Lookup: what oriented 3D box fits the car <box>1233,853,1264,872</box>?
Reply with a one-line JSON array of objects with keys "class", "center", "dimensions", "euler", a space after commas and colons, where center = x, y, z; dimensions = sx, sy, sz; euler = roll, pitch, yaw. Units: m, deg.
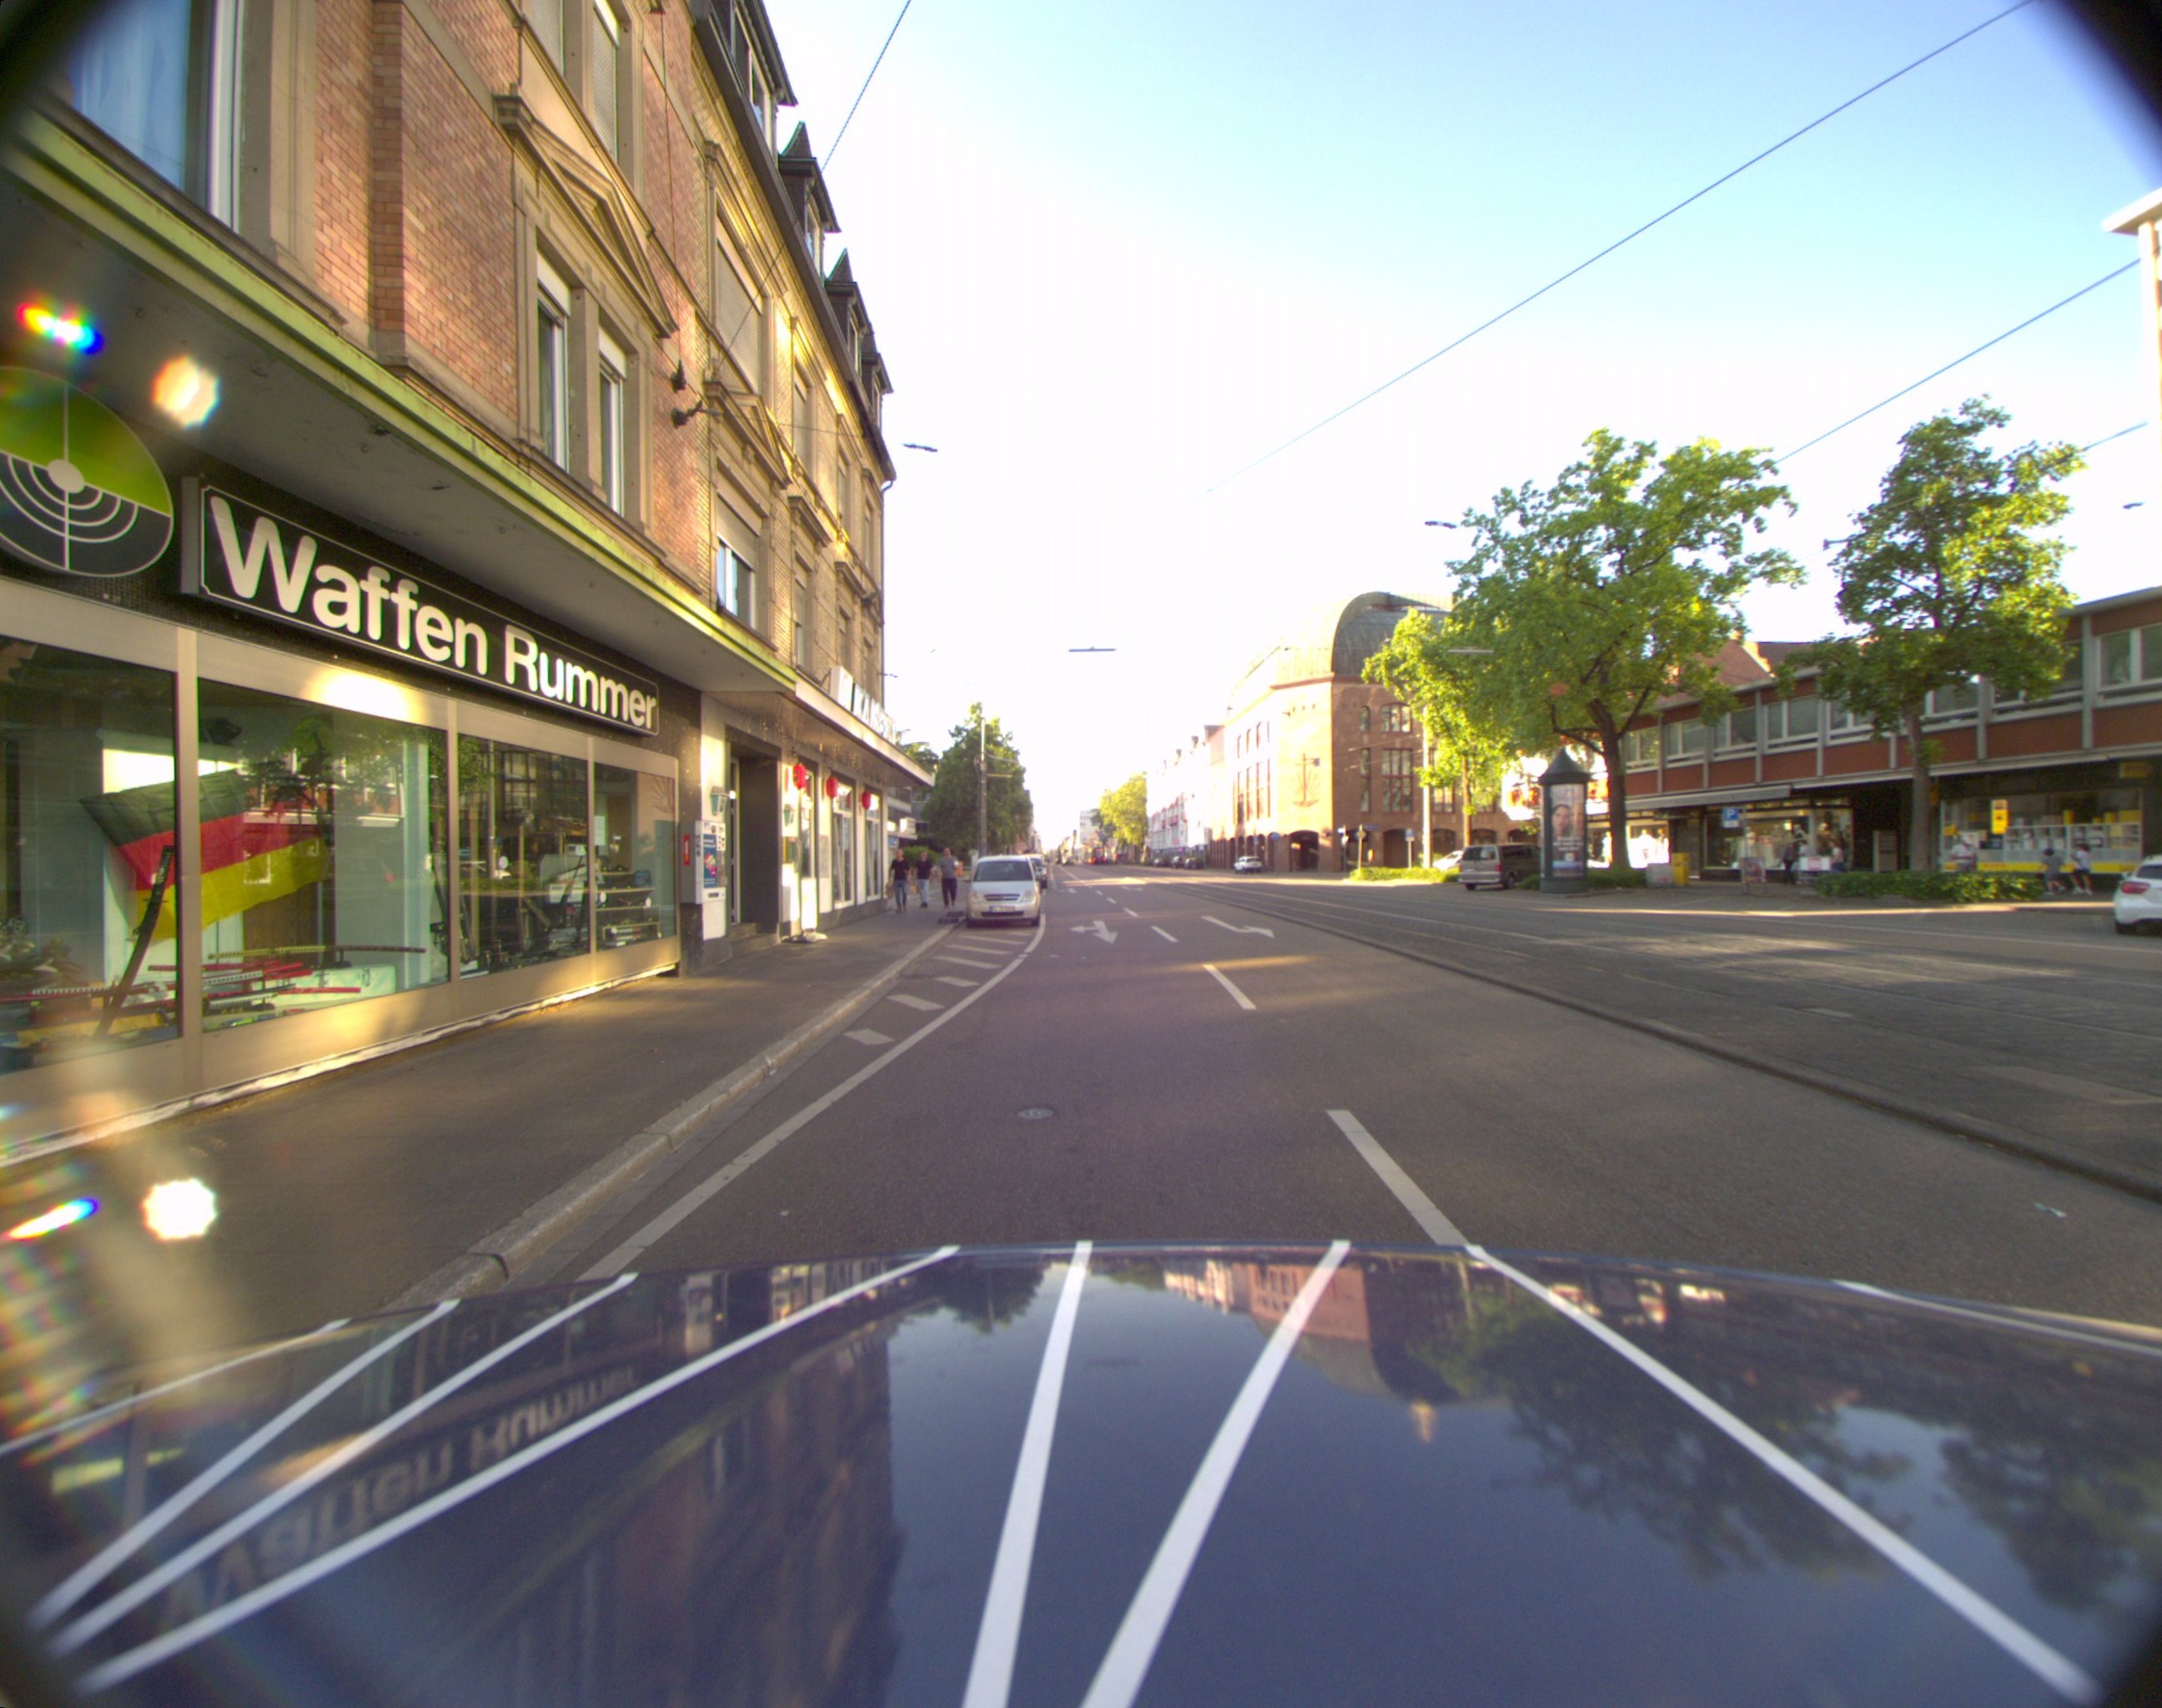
[{"class": "car", "center": [15.518, 0.752, 70.671], "dimensions": [1.600, 1.581, 4.276], "euler": [-3, 0, -4]}]

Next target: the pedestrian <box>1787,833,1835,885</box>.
[{"class": "pedestrian", "center": [28.000, 0.184, 29.173], "dimensions": [0.996, 1.937, 0.900], "euler": [-1, 1, -5]}]

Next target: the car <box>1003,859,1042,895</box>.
[{"class": "car", "center": [-2.671, 1.009, 35.278], "dimensions": [1.642, 1.484, 3.793], "euler": [-3, 0, -4]}]

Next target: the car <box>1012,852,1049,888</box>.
[{"class": "car", "center": [-2.658, 0.803, 40.544], "dimensions": [1.825, 1.747, 4.473], "euler": [-2, 1, -3]}]

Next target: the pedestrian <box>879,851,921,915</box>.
[{"class": "pedestrian", "center": [-4.998, 0.780, 21.039], "dimensions": [0.903, 1.703, 1.032], "euler": [2, 0, -3]}]

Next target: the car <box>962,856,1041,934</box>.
[{"class": "car", "center": [-1.819, 0.885, 18.183], "dimensions": [1.642, 1.605, 3.943], "euler": [-1, 0, -4]}]

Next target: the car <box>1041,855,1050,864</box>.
[{"class": "car", "center": [-5.770, 0.839, 124.717], "dimensions": [1.420, 1.425, 3.871], "euler": [-2, 0, -3]}]

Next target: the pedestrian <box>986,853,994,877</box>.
[{"class": "pedestrian", "center": [-6.674, 0.808, 55.760], "dimensions": [0.494, 1.703, 0.437], "euler": [2, 1, -3]}]

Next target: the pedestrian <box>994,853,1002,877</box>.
[{"class": "pedestrian", "center": [-6.077, 0.790, 55.627], "dimensions": [0.494, 1.703, 0.437], "euler": [2, 1, -3]}]

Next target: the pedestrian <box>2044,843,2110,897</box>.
[{"class": "pedestrian", "center": [28.061, 0.442, 21.422], "dimensions": [0.689, 1.462, 0.900], "euler": [-1, 0, -5]}]

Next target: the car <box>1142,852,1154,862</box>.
[{"class": "car", "center": [12.279, 0.584, 139.151], "dimensions": [1.931, 1.787, 4.383], "euler": [0, 0, 1]}]

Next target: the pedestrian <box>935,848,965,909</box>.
[{"class": "pedestrian", "center": [-4.112, 0.759, 23.916], "dimensions": [0.796, 1.888, 1.032], "euler": [0, 1, -3]}]

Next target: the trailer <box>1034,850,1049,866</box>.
[{"class": "trailer", "center": [-5.446, 0.542, 105.138], "dimensions": [1.784, 2.136, 5.315], "euler": [-2, 0, 0]}]

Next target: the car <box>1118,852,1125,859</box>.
[{"class": "car", "center": [11.348, 0.436, 214.071], "dimensions": [1.861, 1.914, 3.999], "euler": [0, 0, -1]}]

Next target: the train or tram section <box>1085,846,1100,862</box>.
[{"class": "train or tram section", "center": [2.655, -0.113, 177.174], "dimensions": [2.766, 3.530, 12.463], "euler": [0, 0, -3]}]

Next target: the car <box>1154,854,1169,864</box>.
[{"class": "car", "center": [13.027, 0.818, 123.180], "dimensions": [1.829, 1.500, 4.559], "euler": [-2, 0, -2]}]

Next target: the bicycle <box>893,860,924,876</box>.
[{"class": "bicycle", "center": [-11.942, 0.942, 52.705], "dimensions": [2.020, 1.089, 0.637], "euler": [1, 0, -9]}]

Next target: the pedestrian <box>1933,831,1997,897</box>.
[{"class": "pedestrian", "center": [25.735, 0.287, 22.145], "dimensions": [0.917, 1.867, 0.902], "euler": [0, 1, 26]}]

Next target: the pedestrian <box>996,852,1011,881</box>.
[{"class": "pedestrian", "center": [-4.693, 0.755, 45.981], "dimensions": [0.789, 1.727, 0.945], "euler": [-1, 1, -3]}]

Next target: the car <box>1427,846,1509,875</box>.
[{"class": "car", "center": [28.525, 0.457, 56.136], "dimensions": [4.993, 1.957, 2.130], "euler": [-1, 3, -4]}]

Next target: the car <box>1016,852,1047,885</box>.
[{"class": "car", "center": [-2.917, 0.806, 45.261], "dimensions": [1.680, 1.797, 4.247], "euler": [-2, 0, -3]}]

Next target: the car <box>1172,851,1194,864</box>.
[{"class": "car", "center": [13.979, 0.467, 104.295], "dimensions": [1.964, 1.690, 4.559], "euler": [-2, 0, -4]}]

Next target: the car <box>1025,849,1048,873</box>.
[{"class": "car", "center": [-4.055, 0.631, 69.922], "dimensions": [1.882, 2.009, 4.904], "euler": [-2, 0, -2]}]

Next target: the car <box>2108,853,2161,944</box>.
[{"class": "car", "center": [20.675, 0.758, 14.059], "dimensions": [4.276, 1.421, 1.762], "euler": [-3, 1, -34]}]

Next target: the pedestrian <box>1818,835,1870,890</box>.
[{"class": "pedestrian", "center": [26.516, 0.291, 26.420], "dimensions": [0.919, 1.867, 0.900], "euler": [-1, 1, -5]}]

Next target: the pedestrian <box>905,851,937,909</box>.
[{"class": "pedestrian", "center": [-4.948, 0.786, 23.600], "dimensions": [0.813, 1.746, 1.032], "euler": [0, 1, -3]}]

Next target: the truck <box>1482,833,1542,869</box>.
[{"class": "truck", "center": [34.286, -0.230, 60.539], "dimensions": [1.856, 2.747, 4.528], "euler": [-1, 0, -7]}]

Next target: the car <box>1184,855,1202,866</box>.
[{"class": "car", "center": [14.327, 0.832, 97.414], "dimensions": [1.646, 1.392, 3.682], "euler": [-2, 0, -2]}]

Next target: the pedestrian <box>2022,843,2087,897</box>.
[{"class": "pedestrian", "center": [27.349, 0.436, 21.359], "dimensions": [0.689, 1.488, 0.900], "euler": [-1, 0, -5]}]

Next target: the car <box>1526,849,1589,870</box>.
[{"class": "car", "center": [38.025, 0.423, 60.767], "dimensions": [1.856, 1.564, 4.528], "euler": [-1, 0, -7]}]

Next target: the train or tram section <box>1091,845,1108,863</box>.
[{"class": "train or tram section", "center": [3.707, 0.030, 154.230], "dimensions": [2.683, 3.530, 12.837], "euler": [0, 0, -3]}]

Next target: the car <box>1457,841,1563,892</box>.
[{"class": "car", "center": [18.595, 0.494, 32.859], "dimensions": [5.130, 1.918, 1.849], "euler": [-3, 2, -34]}]

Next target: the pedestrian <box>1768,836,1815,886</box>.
[{"class": "pedestrian", "center": [26.923, 0.259, 28.807], "dimensions": [0.919, 1.867, 0.900], "euler": [-1, 1, -5]}]
